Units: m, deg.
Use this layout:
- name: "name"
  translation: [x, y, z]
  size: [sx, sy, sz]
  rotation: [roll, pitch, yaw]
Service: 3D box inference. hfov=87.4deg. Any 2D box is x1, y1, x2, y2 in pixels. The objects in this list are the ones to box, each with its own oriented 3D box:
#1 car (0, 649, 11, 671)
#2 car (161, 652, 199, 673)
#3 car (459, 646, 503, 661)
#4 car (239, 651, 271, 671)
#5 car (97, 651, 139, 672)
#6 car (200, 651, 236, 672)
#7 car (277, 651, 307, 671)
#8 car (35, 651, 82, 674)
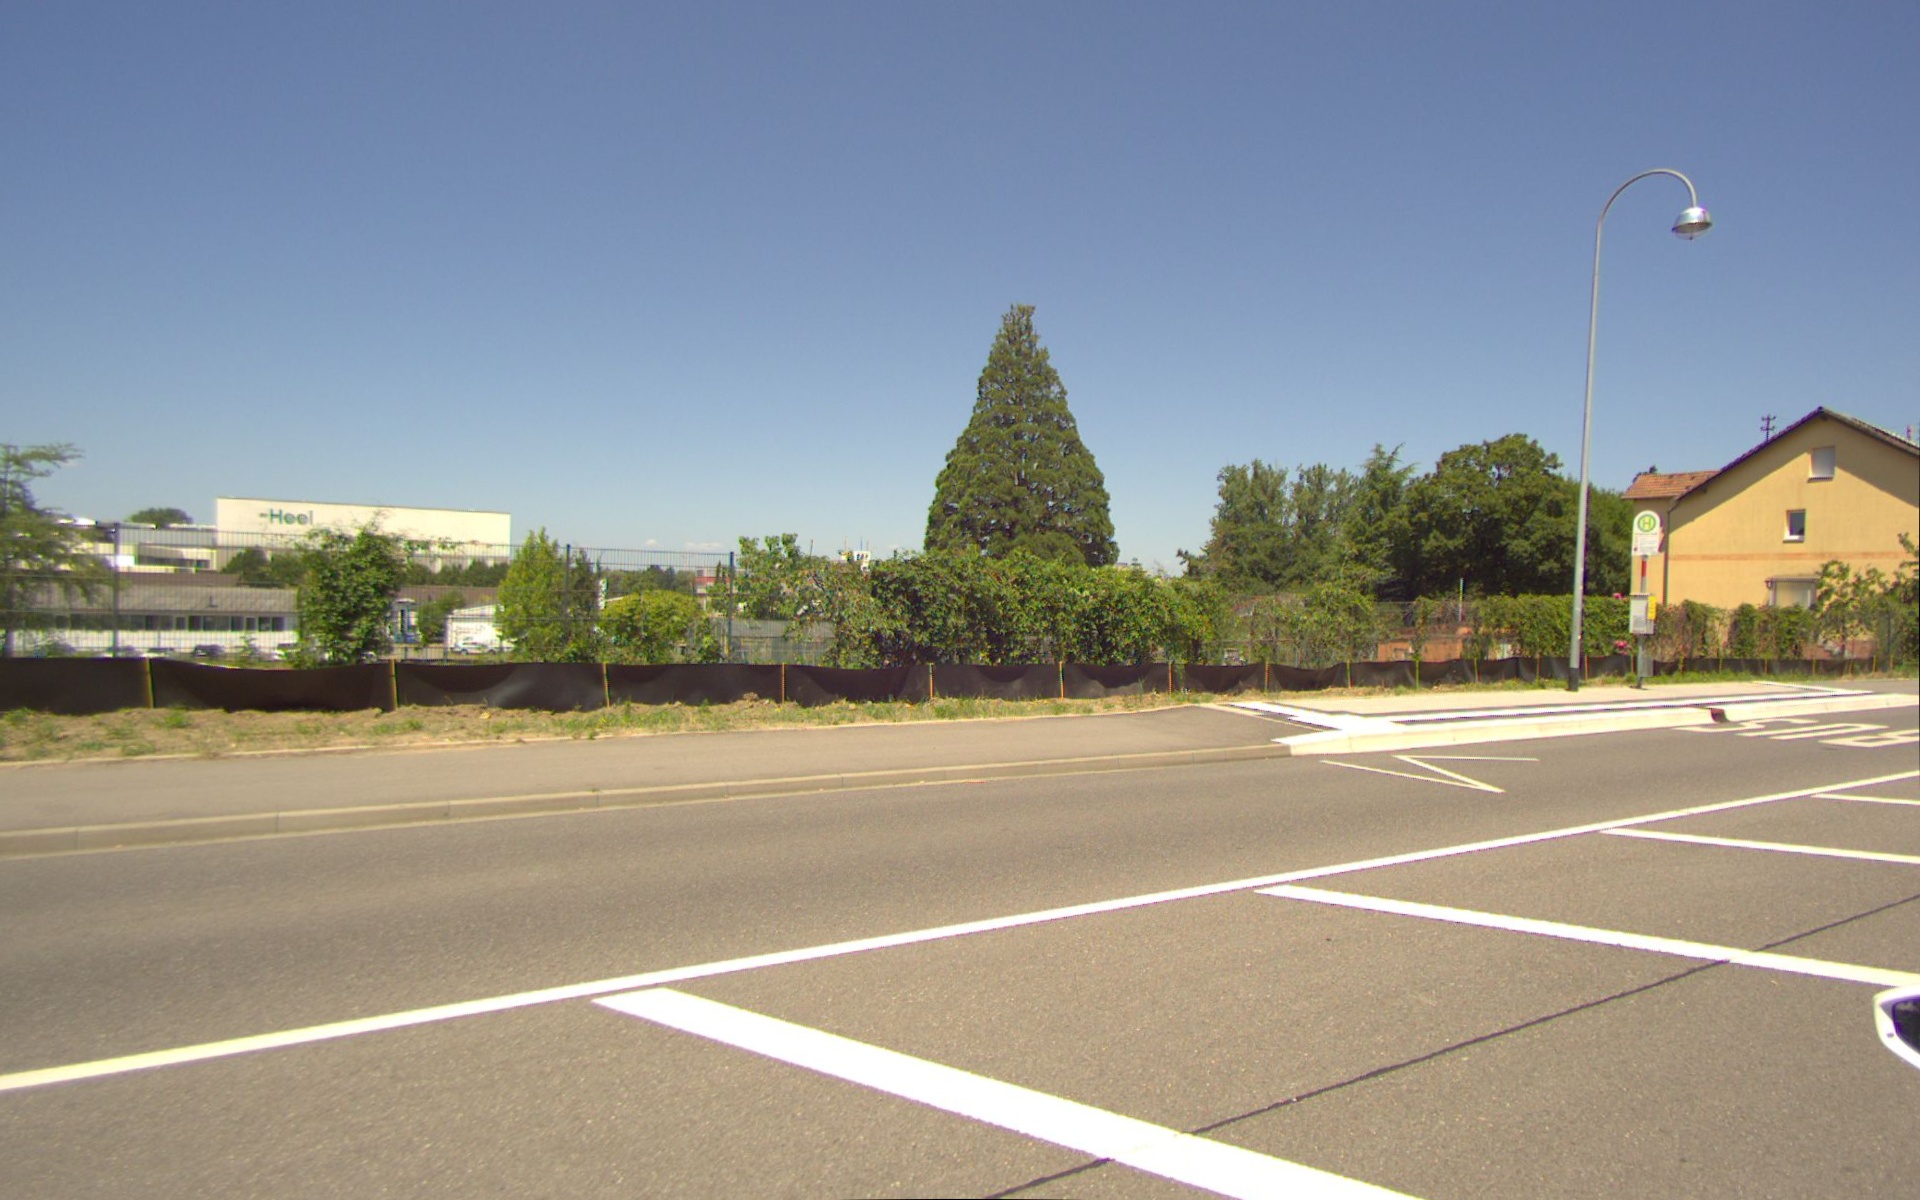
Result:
- name: "car"
  translation: [-75.907, 4.753, 78.025]
  size: [1.974, 1.595, 3.973]
  rotation: [1, 0, -26]
- name: "car"
  translation: [-64.019, 5.096, 82.475]
  size: [1.977, 1.528, 3.966]
  rotation: [1, -1, -31]
- name: "car"
  translation: [-49.950, 5.570, 104.794]
  size: [3.943, 1.528, 1.989]
  rotation: [1, -1, -23]
- name: "car"
  translation: [-60.576, 5.223, 86.376]
  size: [1.977, 1.528, 3.966]
  rotation: [1, -1, -31]
- name: "car"
  translation: [-68.527, 4.973, 81.767]
  size: [1.977, 1.528, 3.966]
  rotation: [1, -1, -31]
- name: "car"
  translation: [-62.400, 5.159, 84.524]
  size: [1.977, 1.528, 3.966]
  rotation: [1, -1, -31]
- name: "car"
  translation: [-57.968, 5.302, 87.189]
  size: [1.977, 1.528, 3.966]
  rotation: [1, -1, -31]
- name: "car"
  translation: [-70.697, 4.887, 78.814]
  size: [1.977, 1.528, 3.966]
  rotation: [1, -1, -31]
